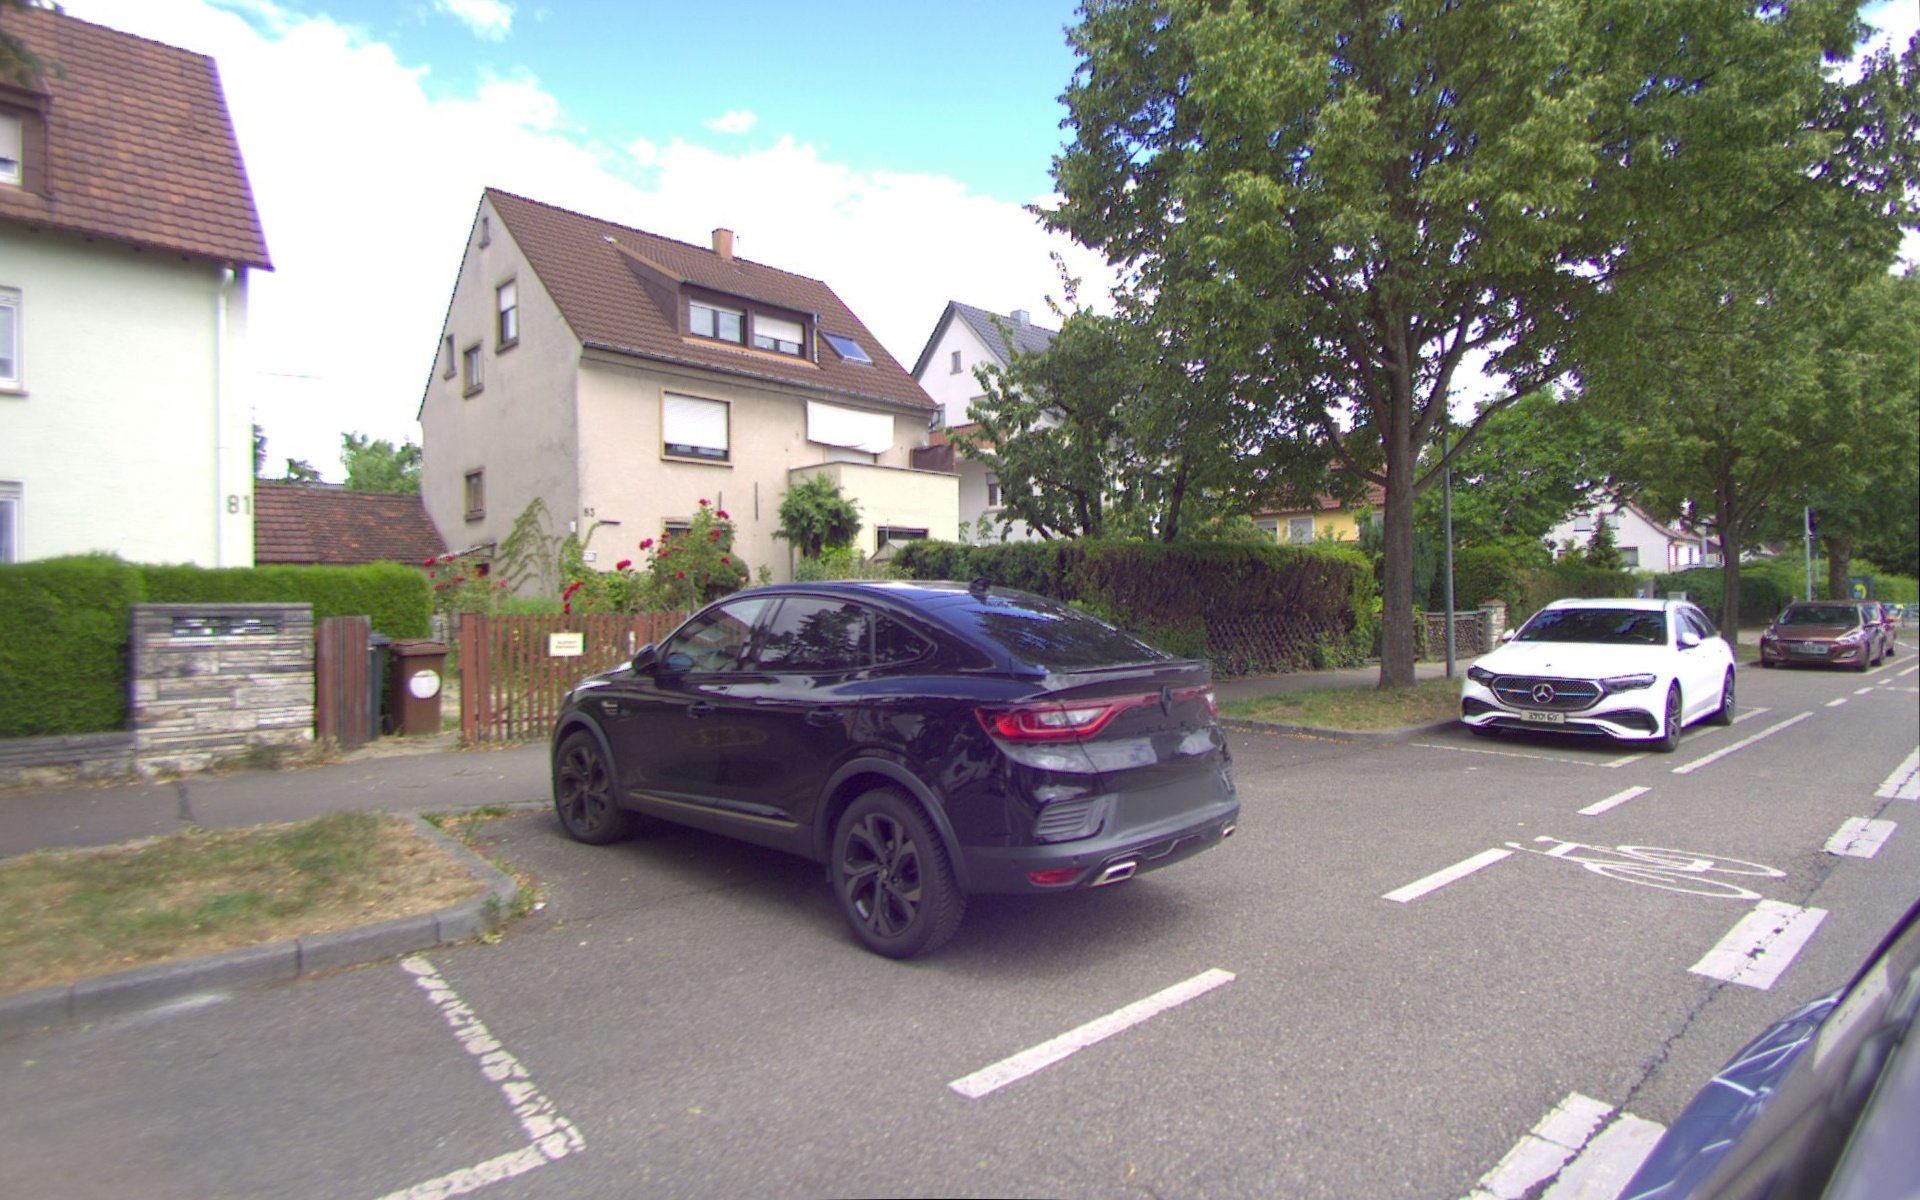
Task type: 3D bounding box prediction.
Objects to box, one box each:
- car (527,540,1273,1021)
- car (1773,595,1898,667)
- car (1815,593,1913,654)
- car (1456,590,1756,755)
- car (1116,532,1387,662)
[{"bbox_3d":[-0.637,0.590,5.557,4.216,1.658,1.667,1,1,43],"label":"car"},{"bbox_3d":[19.421,0.609,22.388,4.106,1.434,1.655,0,1,-43],"label":"car"},{"bbox_3d":[23.814,0.571,26.621,3.606,1.474,1.567,-1,0,-42],"label":"car"},{"bbox_3d":[7.473,0.644,11.481,4.732,1.493,1.807,-1,0,-44],"label":"car"},{"bbox_3d":[6.474,-0.042,23.079,5.713,2.625,1.966,-1,-1,44],"label":"car"}]
